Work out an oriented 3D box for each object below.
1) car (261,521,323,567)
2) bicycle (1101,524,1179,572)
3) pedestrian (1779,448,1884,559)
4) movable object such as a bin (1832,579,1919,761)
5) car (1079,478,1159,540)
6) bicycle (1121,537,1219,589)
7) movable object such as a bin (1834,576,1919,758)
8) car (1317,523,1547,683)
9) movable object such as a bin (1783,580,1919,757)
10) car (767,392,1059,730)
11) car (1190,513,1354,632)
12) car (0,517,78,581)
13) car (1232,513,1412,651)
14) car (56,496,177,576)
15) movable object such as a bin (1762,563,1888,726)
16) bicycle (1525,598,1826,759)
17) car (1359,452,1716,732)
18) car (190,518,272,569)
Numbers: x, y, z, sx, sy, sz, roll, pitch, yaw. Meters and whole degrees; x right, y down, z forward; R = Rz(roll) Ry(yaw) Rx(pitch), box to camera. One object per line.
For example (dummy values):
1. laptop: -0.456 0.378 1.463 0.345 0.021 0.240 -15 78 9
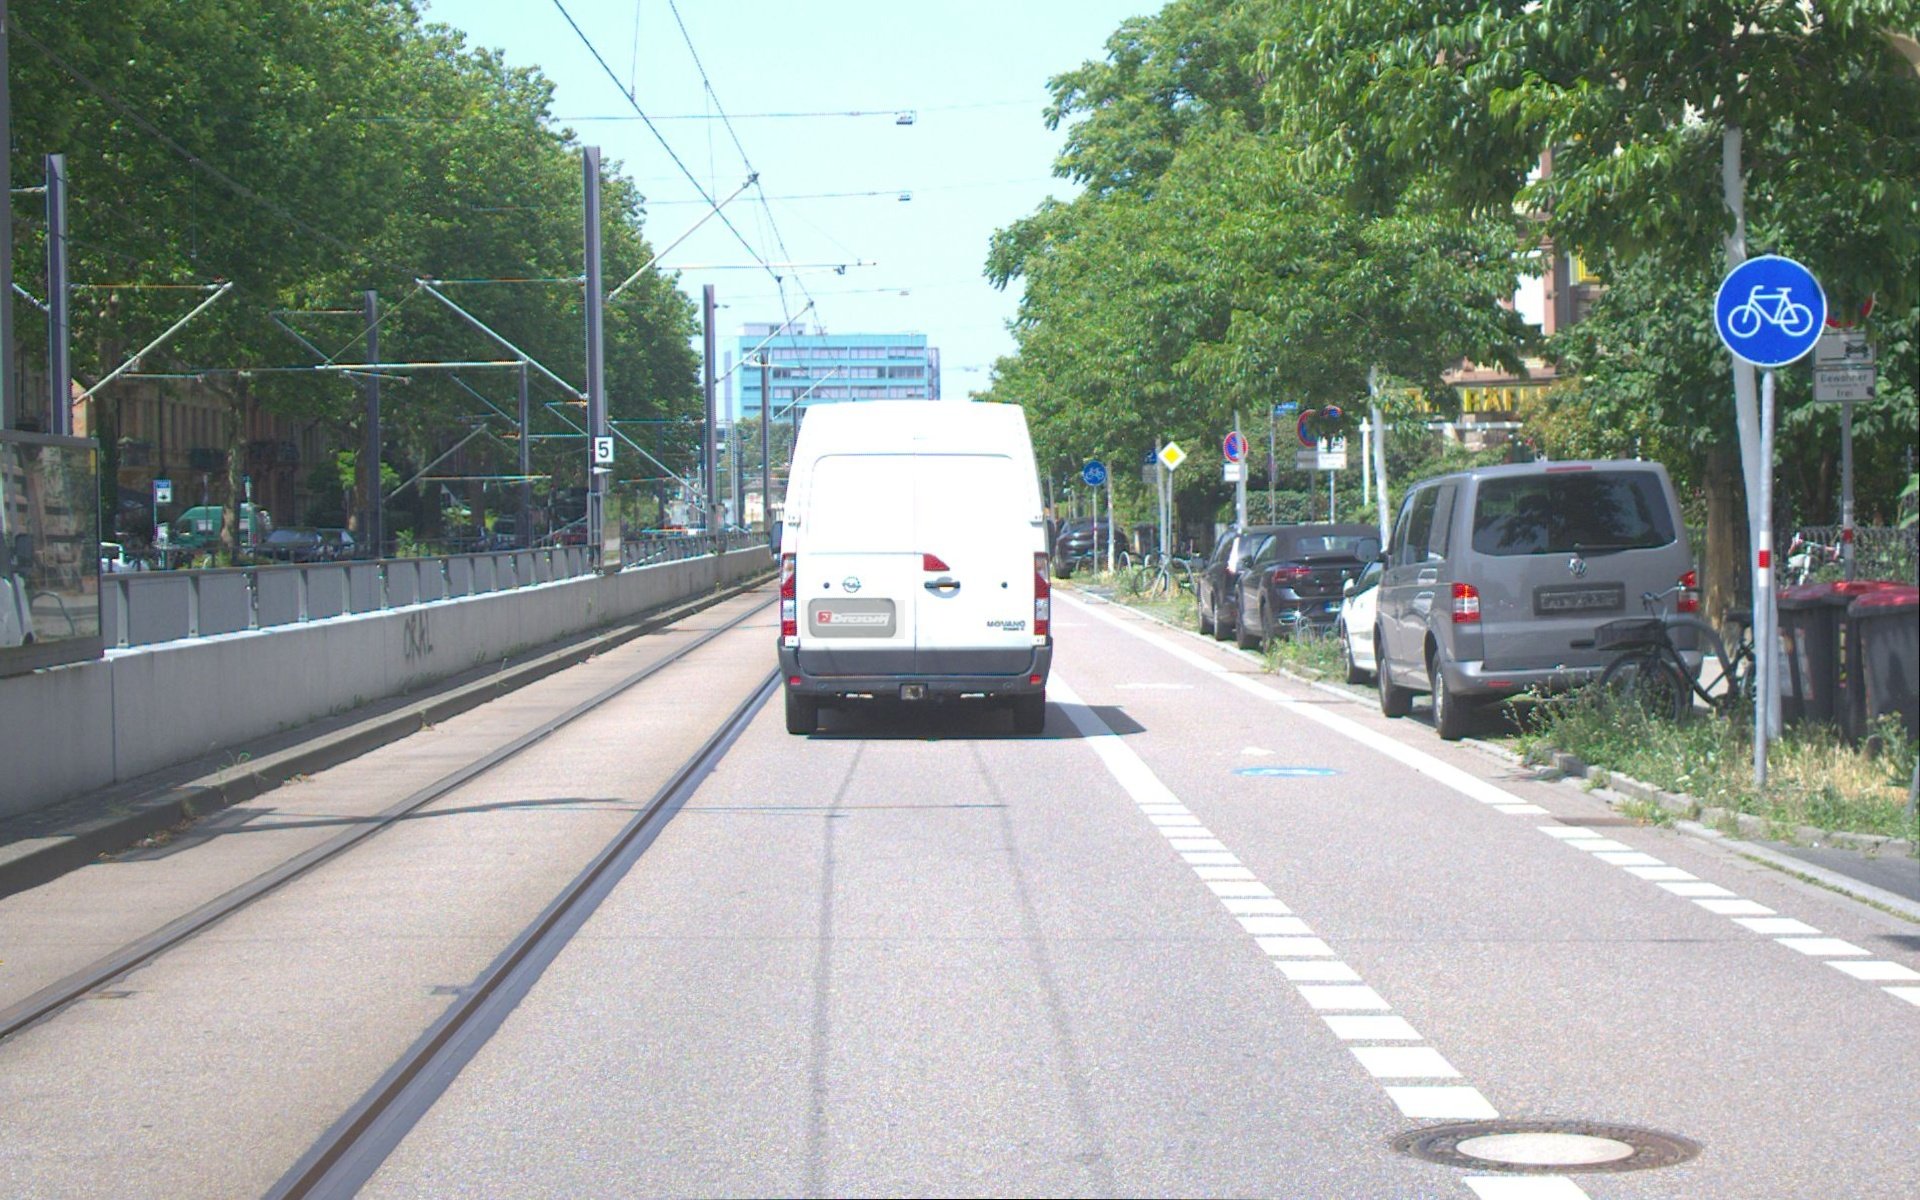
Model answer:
1. car: -21.260 -1.797 109.460 1.373 1.419 3.088 -1 1 0
2. bicycle: 4.499 -1.307 85.850 1.887 1.178 0.640 0 1 -2
3. pedestrian: 8.603 -0.950 33.961 0.865 1.066 0.761 -1 1 3
4. movable object such as a bin: 5.468 0.395 19.755 0.787 1.010 0.650 -1 1 6
5. car: 4.423 -2.546 96.036 2.157 1.664 4.000 0 2 1
6. bicycle: 4.029 -0.716 66.092 1.842 0.950 0.503 -1 1 1
7. movable object such as a bin: 5.580 0.392 20.450 0.669 1.058 0.496 0 1 6
8. car: 4.495 -0.013 33.212 1.611 1.401 4.000 -1 2 -1
9. movable object such as a bin: 5.460 0.413 21.069 0.746 1.058 0.496 0 1 6
10. car: -0.418 -0.356 27.538 2.117 2.450 5.055 0 2 -2
11. car: 4.185 -0.413 46.671 1.729 1.530 4.405 0 2 -1
12. car: -21.351 -1.173 77.680 1.852 1.396 4.198 0 2 -2
13. car: 4.268 -0.258 41.032 1.667 1.525 4.013 -1 2 -1
14. car: -20.416 -1.567 83.370 1.993 1.898 4.149 0 2 -2
15. movable object such as a bin: 5.482 0.277 21.812 0.595 1.007 0.566 -1 1 -10
16. bicycle: 4.687 0.505 22.527 1.880 0.988 0.470 -1 1 -10
17. car: 4.349 -0.116 26.646 1.879 1.941 4.837 -1 1 -1
18. car: -21.427 -1.687 101.182 1.592 1.443 4.000 0 2 0
